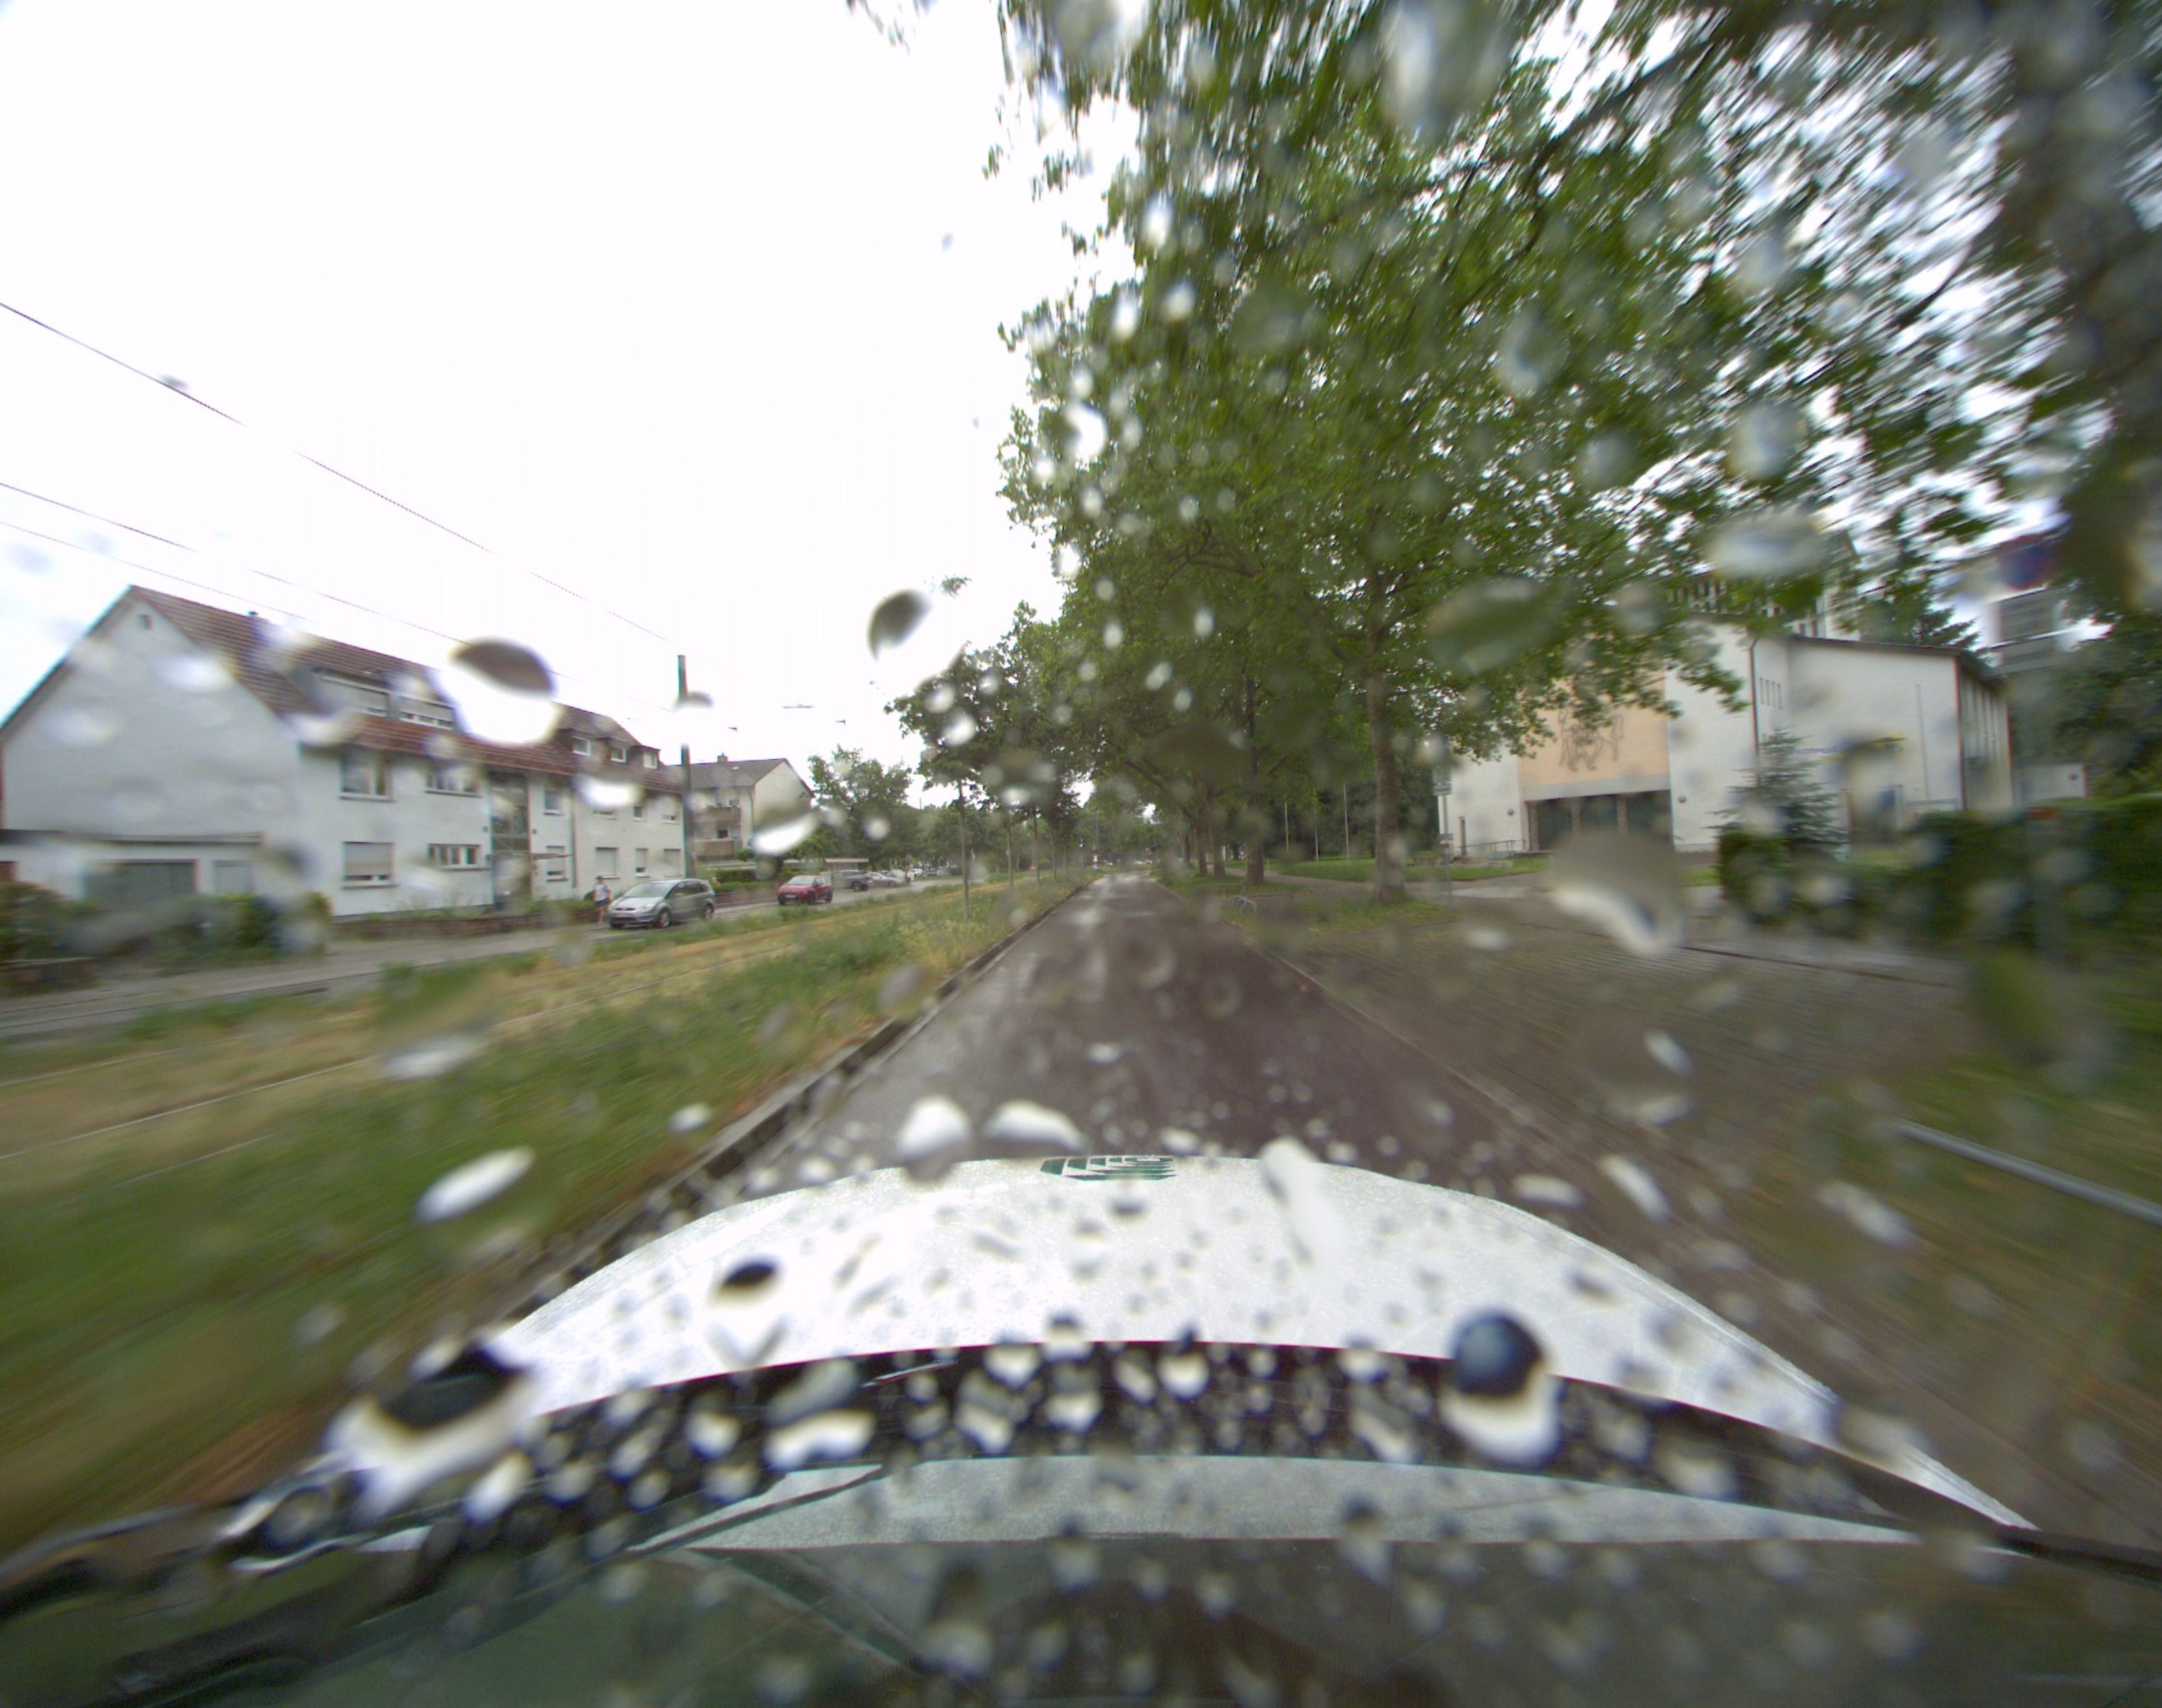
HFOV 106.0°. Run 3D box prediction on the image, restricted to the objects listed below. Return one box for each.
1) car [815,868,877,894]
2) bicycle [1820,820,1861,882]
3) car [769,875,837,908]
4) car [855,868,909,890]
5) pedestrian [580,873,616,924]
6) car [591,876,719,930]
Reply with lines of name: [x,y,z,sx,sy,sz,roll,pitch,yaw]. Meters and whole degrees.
car: [-17.592,2.007,61.158,3.975,1.616,1.999,-3,-1,-1]
bicycle: [14.982,-0.076,16.049,0.458,1.090,2.058,-5,0,45]
car: [-14.404,1.919,42.414,1.986,1.488,4.207,-1,0,2]
car: [-16.935,2.131,69.328,3.975,1.616,1.999,-3,-1,-1]
pedestrian: [-17.466,1.605,29.471,0.699,1.755,0.855,-3,-1,2]
car: [-14.814,1.662,28.637,1.986,1.581,4.518,-1,0,2]
